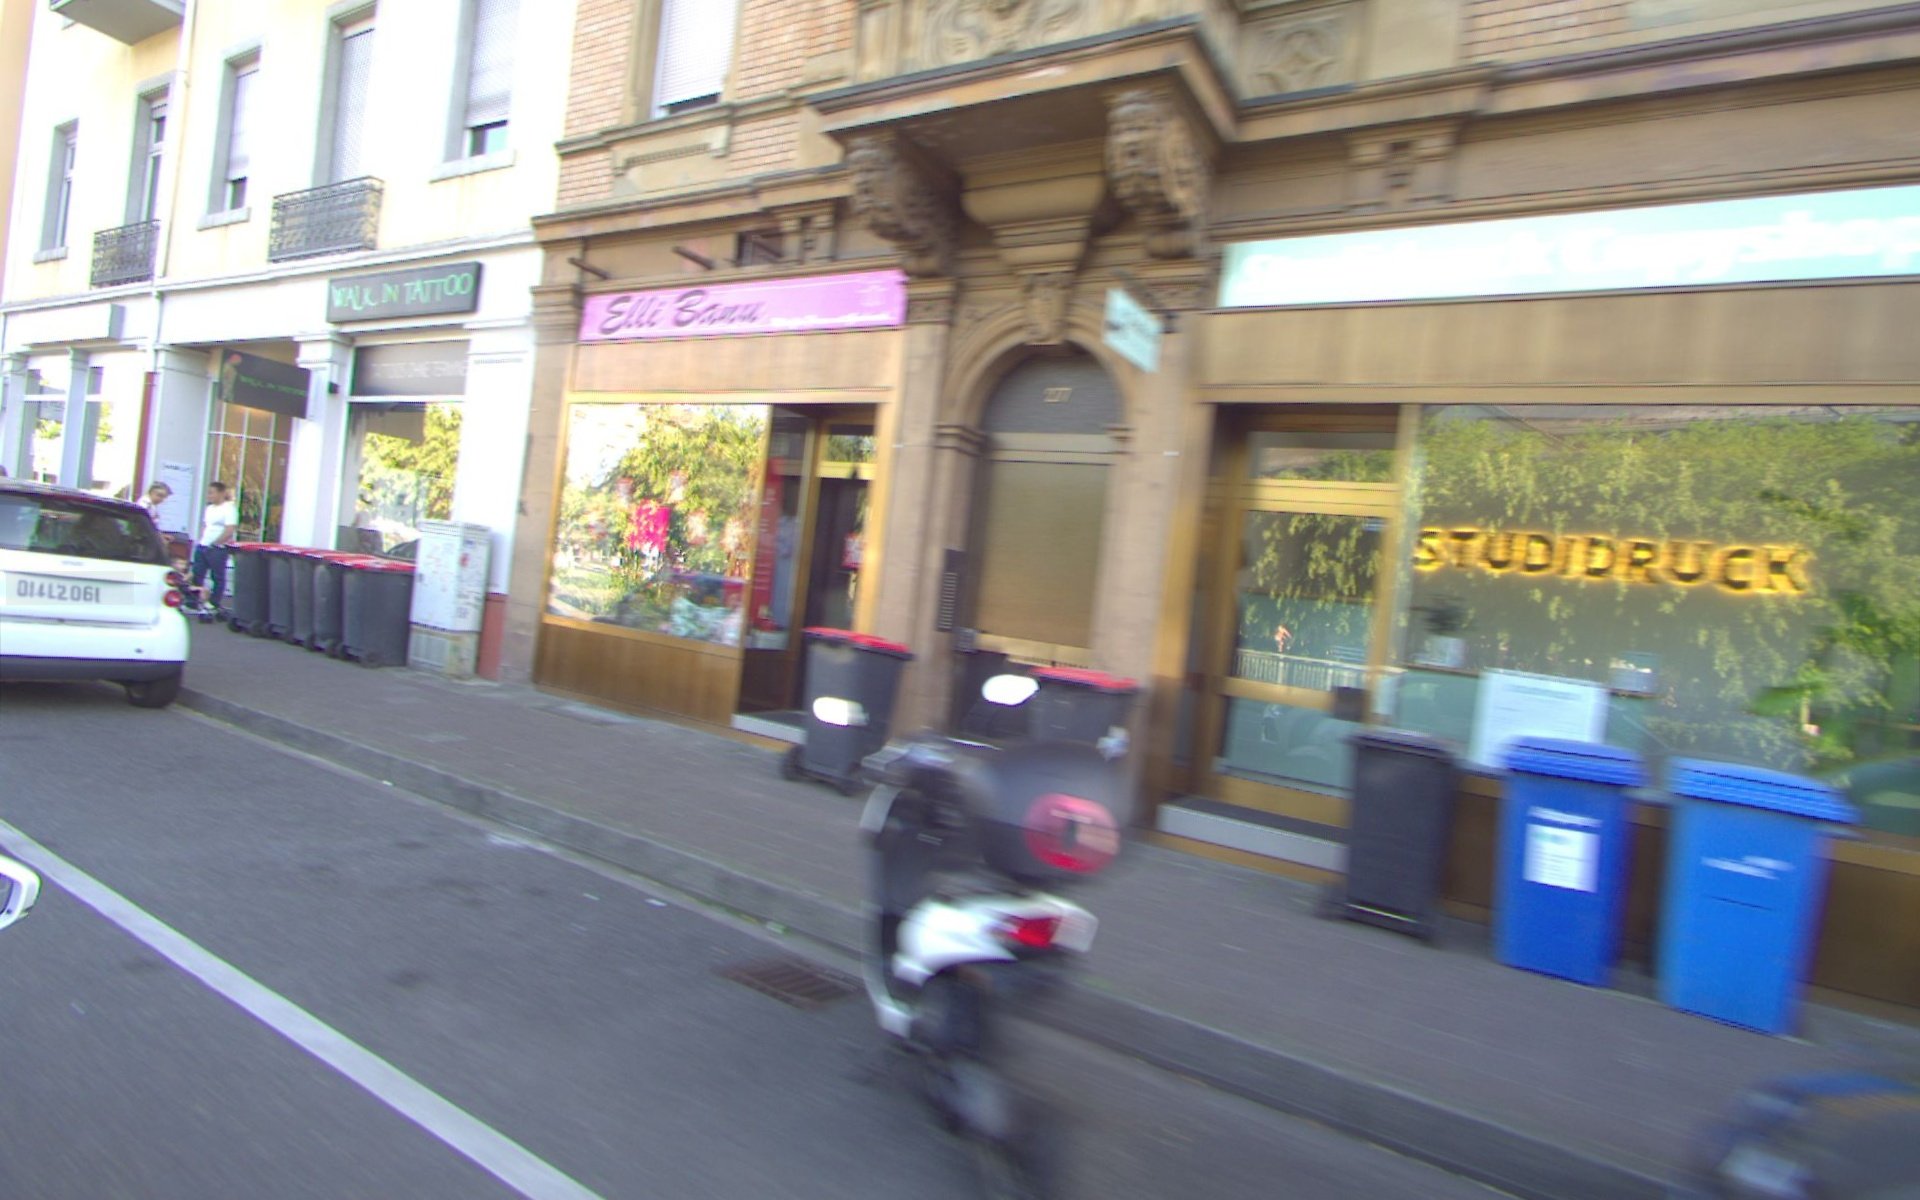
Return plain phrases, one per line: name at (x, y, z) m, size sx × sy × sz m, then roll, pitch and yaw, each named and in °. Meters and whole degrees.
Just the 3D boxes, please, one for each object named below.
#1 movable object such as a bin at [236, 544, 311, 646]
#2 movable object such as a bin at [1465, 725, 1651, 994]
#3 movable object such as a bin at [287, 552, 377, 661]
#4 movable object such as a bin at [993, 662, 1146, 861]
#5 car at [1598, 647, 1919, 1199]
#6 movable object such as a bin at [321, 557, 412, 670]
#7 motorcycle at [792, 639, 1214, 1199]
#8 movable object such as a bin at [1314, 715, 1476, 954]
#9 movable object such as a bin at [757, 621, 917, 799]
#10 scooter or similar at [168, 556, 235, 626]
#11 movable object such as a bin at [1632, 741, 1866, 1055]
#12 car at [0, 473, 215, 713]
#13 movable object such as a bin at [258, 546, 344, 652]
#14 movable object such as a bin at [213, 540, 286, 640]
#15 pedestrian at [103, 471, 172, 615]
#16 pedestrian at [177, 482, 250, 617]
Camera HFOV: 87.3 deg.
movable object such as a bin at (-7.621, -0.048, 11.173) m, size 0.460 × 1.066 × 0.479 m, roll 7°, pitch 2°, yaw 30°
movable object such as a bin at (2.879, 1.198, 4.872) m, size 0.616 × 1.057 × 0.680 m, roll 7°, pitch 2°, yaw 31°
movable object such as a bin at (-6.590, 0.073, 10.558) m, size 0.621 × 1.066 × 0.495 m, roll 7°, pitch 2°, yaw 30°
movable object such as a bin at (0.685, 0.958, 6.213) m, size 0.621 × 1.066 × 0.644 m, roll 7°, pitch 2°, yaw 30°
car at (3.230, 1.157, 1.008) m, size 4.157 × 1.564 × 1.843 m, roll 7°, pitch -1°, yaw 31°
movable object such as a bin at (-6.029, 0.141, 10.219) m, size 0.621 × 1.066 × 0.479 m, roll 7°, pitch 2°, yaw 30°
motorcycle at (-0.055, 0.882, 3.200) m, size 0.646 × 1.344 × 2.039 m, roll 7°, pitch -1°, yaw -14°
movable object such as a bin at (2.274, 1.167, 5.231) m, size 0.583 × 1.013 × 0.724 m, roll 7°, pitch 2°, yaw 31°
movable object such as a bin at (-0.868, 0.750, 7.133) m, size 0.806 × 1.090 × 0.644 m, roll 7°, pitch 2°, yaw 32°
scooter or similar at (-9.234, -0.105, 12.246) m, size 0.576 × 0.790 × 0.461 m, roll 4°, pitch 2°, yaw -43°
movable object such as a bin at (3.442, 1.255, 4.459) m, size 0.616 × 1.110 × 0.680 m, roll 7°, pitch 2°, yaw 31°
car at (-7.303, -0.157, 7.639) m, size 2.808 × 1.564 × 1.616 m, roll 7°, pitch -1°, yaw 33°
movable object such as a bin at (-7.125, -0.003, 10.880) m, size 0.621 × 1.066 × 0.479 m, roll 7°, pitch 2°, yaw 30°
movable object such as a bin at (-8.081, -0.110, 11.442) m, size 0.491 × 1.066 × 0.456 m, roll 7°, pitch 2°, yaw 30°
pedestrian at (-9.936, -0.691, 12.156) m, size 0.469 × 1.655 × 0.507 m, roll 7°, pitch 0°, yaw -43°
pedestrian at (-9.612, -0.644, 12.960) m, size 0.505 × 1.655 × 0.470 m, roll 7°, pitch 0°, yaw 36°
